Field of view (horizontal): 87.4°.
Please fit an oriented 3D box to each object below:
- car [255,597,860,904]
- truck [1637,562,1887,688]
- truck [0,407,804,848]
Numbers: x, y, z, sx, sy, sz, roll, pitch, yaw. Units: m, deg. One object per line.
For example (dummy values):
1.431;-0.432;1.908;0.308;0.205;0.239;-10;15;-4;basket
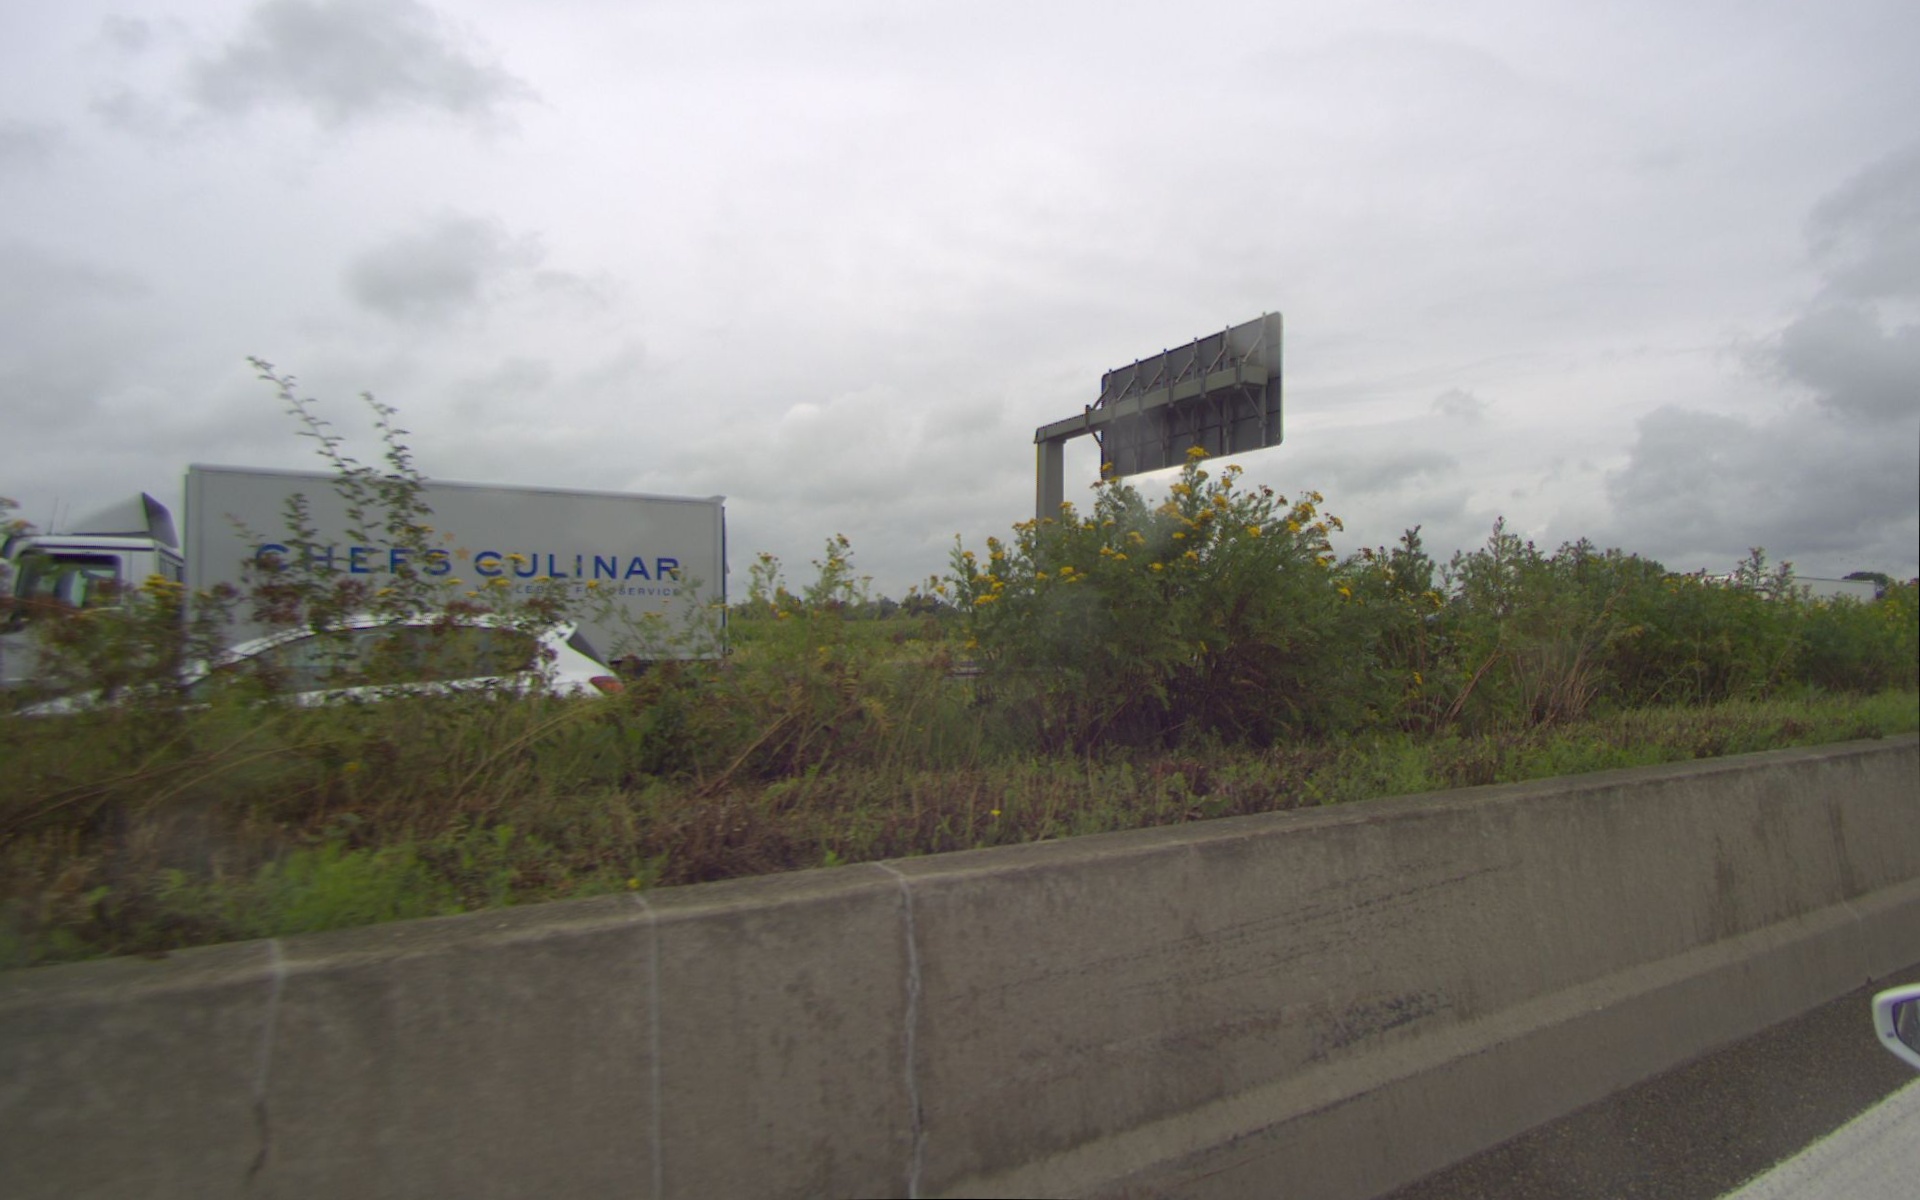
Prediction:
-2.997;0.905;7.919;3.951;1.809;1.985;-1;1;-29;car
29.007;0.921;36.152;10.679;4.020;3.170;2;0;-29;truck
-7.349;0.396;14.295;9.560;4.711;3.209;2;0;-30;truck
